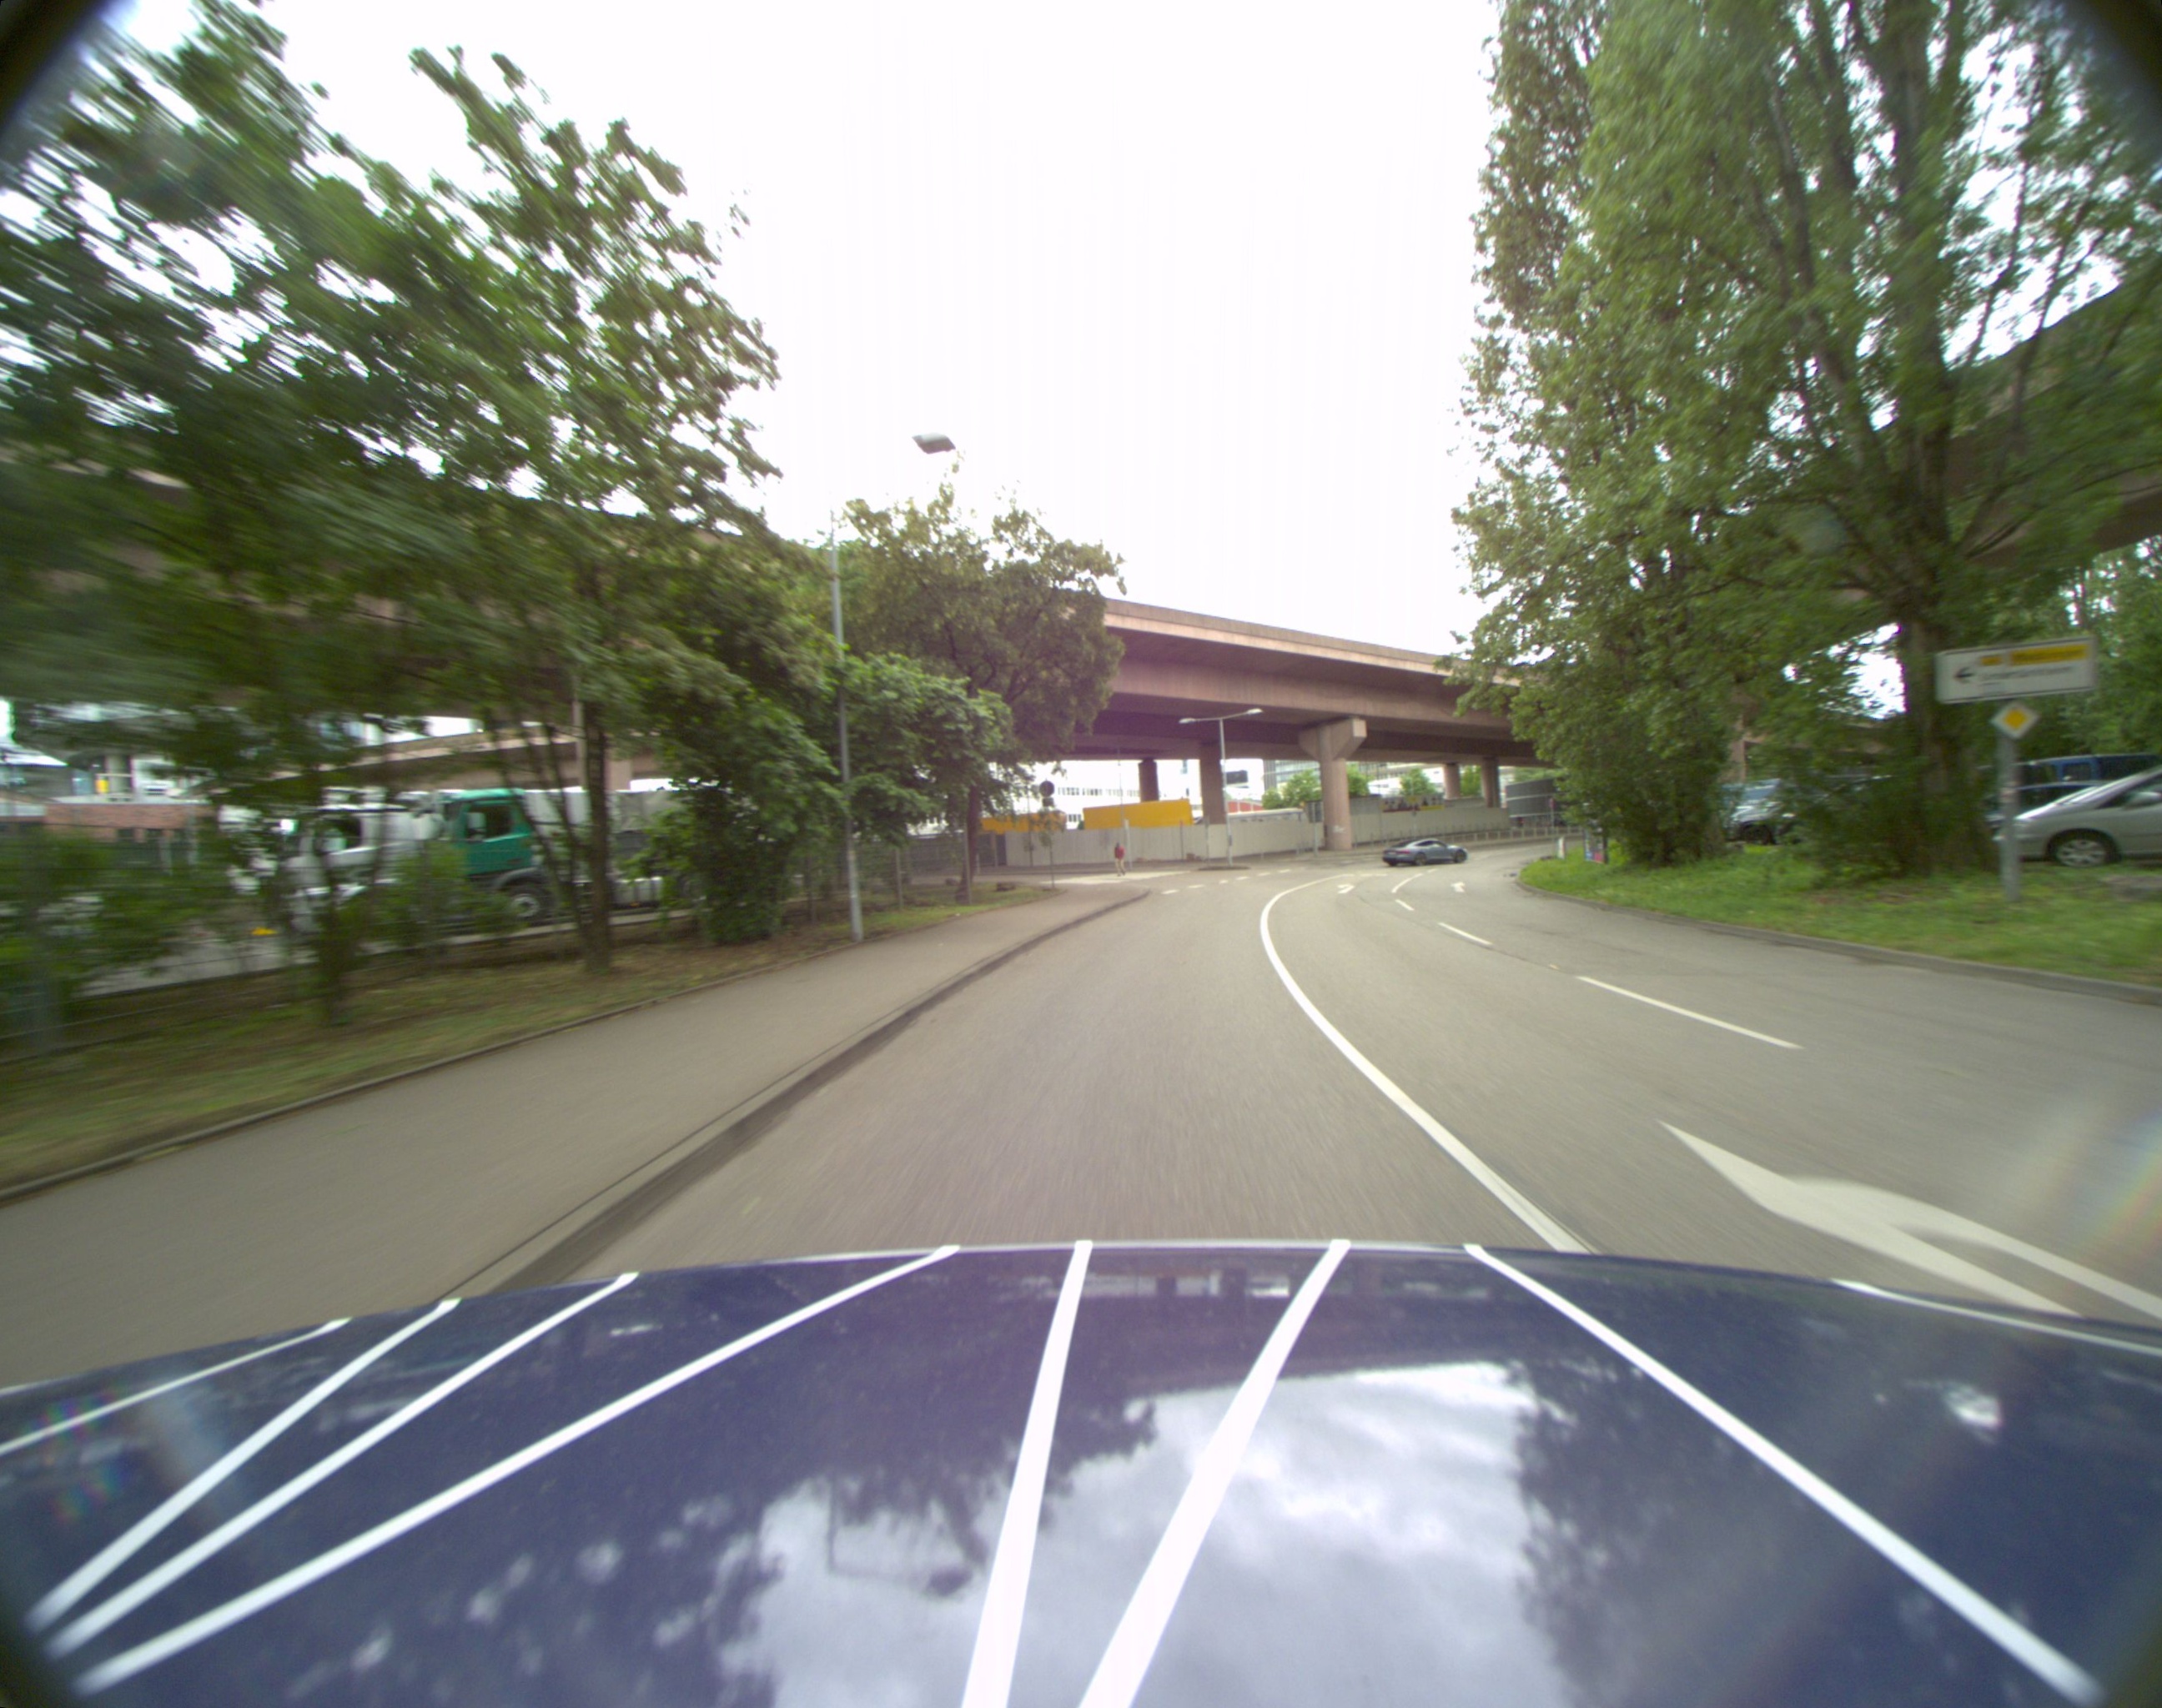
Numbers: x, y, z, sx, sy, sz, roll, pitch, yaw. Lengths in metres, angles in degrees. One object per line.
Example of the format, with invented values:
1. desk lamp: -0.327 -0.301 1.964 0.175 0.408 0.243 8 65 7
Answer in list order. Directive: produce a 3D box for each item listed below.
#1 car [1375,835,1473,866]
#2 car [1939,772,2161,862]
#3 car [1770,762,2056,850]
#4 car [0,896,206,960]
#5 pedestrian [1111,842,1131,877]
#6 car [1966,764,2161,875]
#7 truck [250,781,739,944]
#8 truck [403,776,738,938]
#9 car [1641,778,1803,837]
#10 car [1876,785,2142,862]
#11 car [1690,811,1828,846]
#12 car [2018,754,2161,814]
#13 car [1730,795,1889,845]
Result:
1. car: 18.004 -0.199 39.874 4.759 1.351 1.930 -3 1 -22
2. car: 18.778 -0.694 14.036 1.698 1.528 3.619 -4 3 -31
3. car: 21.561 -1.158 19.978 1.858 2.002 4.711 -2 2 -27
4. car: -33.473 2.453 25.542 4.881 1.696 2.090 -4 0 -35
5. pedestrian: 2.009 0.264 38.114 0.753 1.671 0.855 -2 1 14
6. car: 17.230 -0.570 11.566 1.698 1.664 4.666 -4 2 -31
7. truck: -15.030 0.009 20.902 2.264 3.478 10.234 -2 1 37
8. truck: -12.373 -0.033 19.010 2.264 3.389 6.424 -1 2 39
9. car: 30.426 -2.113 36.346 1.831 2.566 5.674 -2 2 -25
10. car: 20.454 -0.641 16.896 1.699 1.527 3.618 -2 2 -36
11. car: 25.227 -0.922 28.381 1.358 1.227 3.618 -2 2 -36
12. car: 34.990 -2.405 26.187 3.541 1.789 1.641 -3 1 -4
13. car: 24.206 -1.081 25.354 1.358 1.556 3.618 -2 2 -36
